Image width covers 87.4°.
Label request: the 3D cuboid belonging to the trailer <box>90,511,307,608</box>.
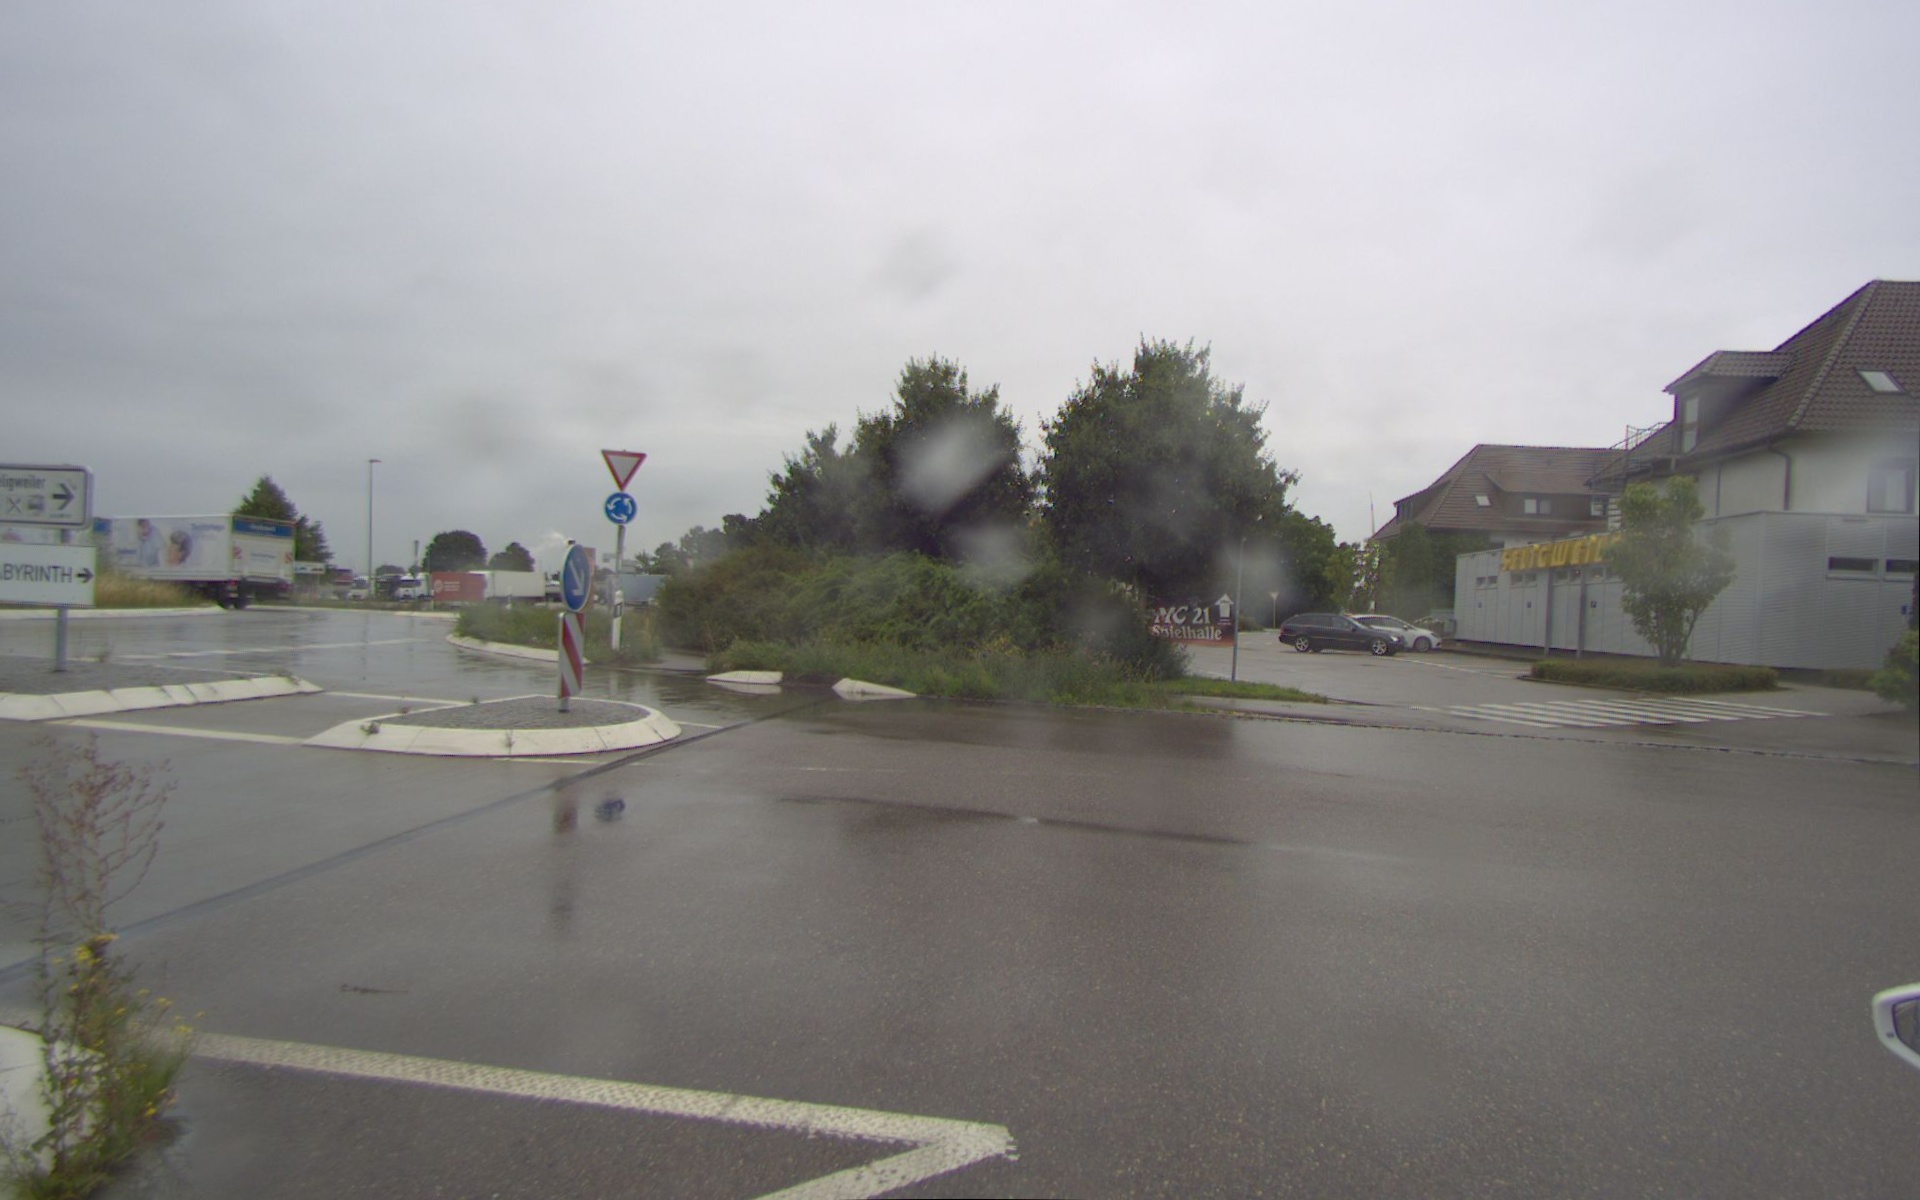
[{"bbox_3d":[-31.476,-1.646,41.488,8.687,3.662,3.099,2,0,22],"label":"trailer"}]

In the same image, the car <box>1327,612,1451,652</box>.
[{"bbox_3d":[17.457,1.284,41.051,4.272,1.444,1.851,2,0,7],"label":"car"}]

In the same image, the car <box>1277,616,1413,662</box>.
[{"bbox_3d":[13.965,1.374,36.601,4.295,1.444,1.698,2,0,41],"label":"car"}]

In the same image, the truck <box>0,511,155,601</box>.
[{"bbox_3d":[-39.913,-1.884,43.310,8.010,3.646,3.118,2,0,3],"label":"truck"}]
